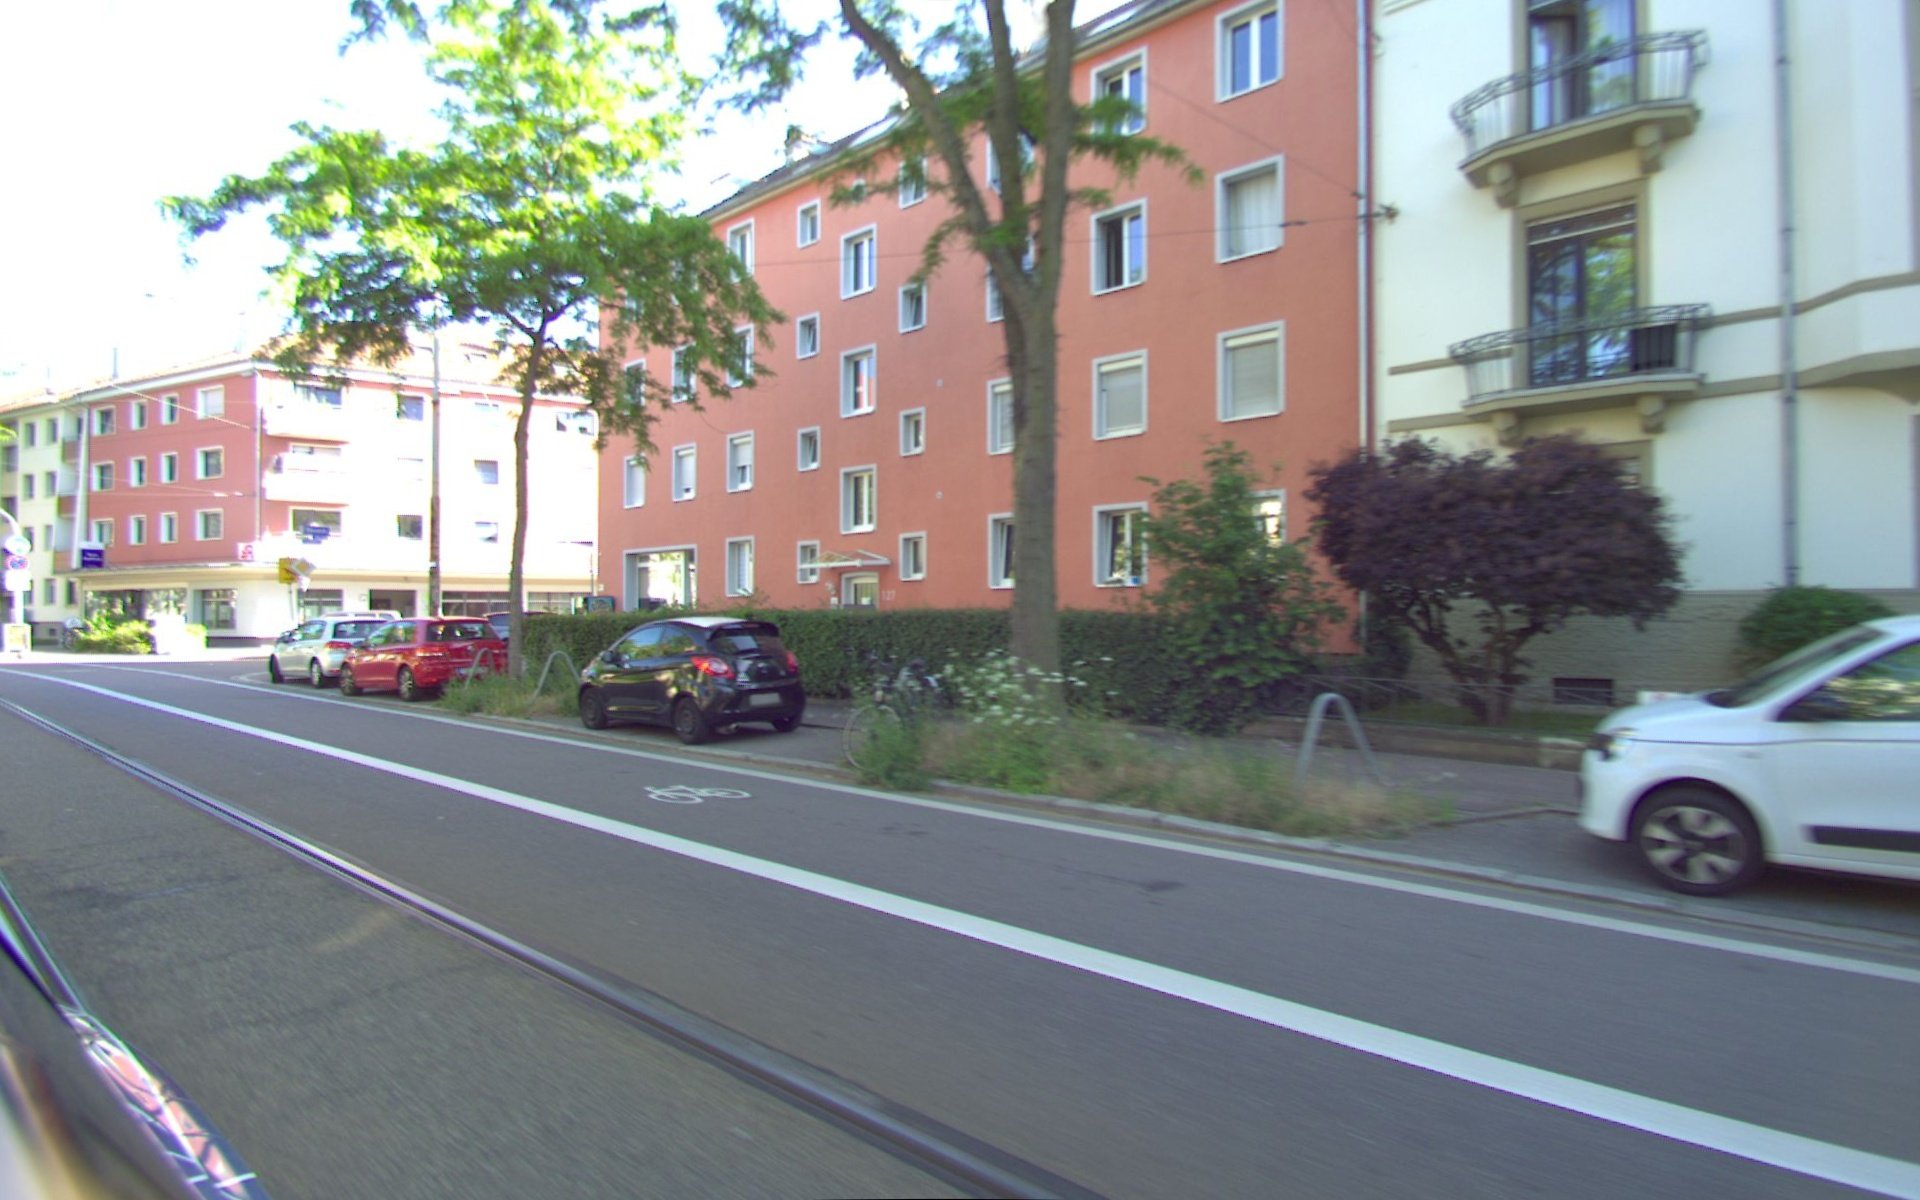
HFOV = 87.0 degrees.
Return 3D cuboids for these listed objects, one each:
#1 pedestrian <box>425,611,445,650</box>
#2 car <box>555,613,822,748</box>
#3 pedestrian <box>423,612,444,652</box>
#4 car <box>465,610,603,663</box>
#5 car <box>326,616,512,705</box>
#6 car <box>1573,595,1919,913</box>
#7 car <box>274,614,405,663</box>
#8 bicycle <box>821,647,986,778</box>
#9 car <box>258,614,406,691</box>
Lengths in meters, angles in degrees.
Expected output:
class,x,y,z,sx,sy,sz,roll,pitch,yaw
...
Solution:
class,x,y,z,sx,sy,sz,roll,pitch,yaw
pedestrian,-24.176,1.403,46.584,0.791,1.779,0.510,1,-2,-29
car,-3.570,0.923,13.001,3.666,1.465,1.538,-1,0,41
pedestrian,-23.630,1.424,45.435,0.791,1.779,0.510,1,-2,-29
car,-15.288,1.295,36.372,4.414,1.793,1.794,1,-2,-29
car,-10.107,1.052,18.808,4.091,1.465,1.558,-1,0,38
car,5.483,0.741,5.301,3.686,1.546,1.609,-1,0,40
car,-23.888,1.457,39.060,4.216,1.793,1.793,1,-2,-33
bicycle,-0.527,1.071,10.108,0.542,1.129,1.793,-1,-1,41
car,-13.881,1.096,22.283,4.092,1.517,1.557,-1,0,39
